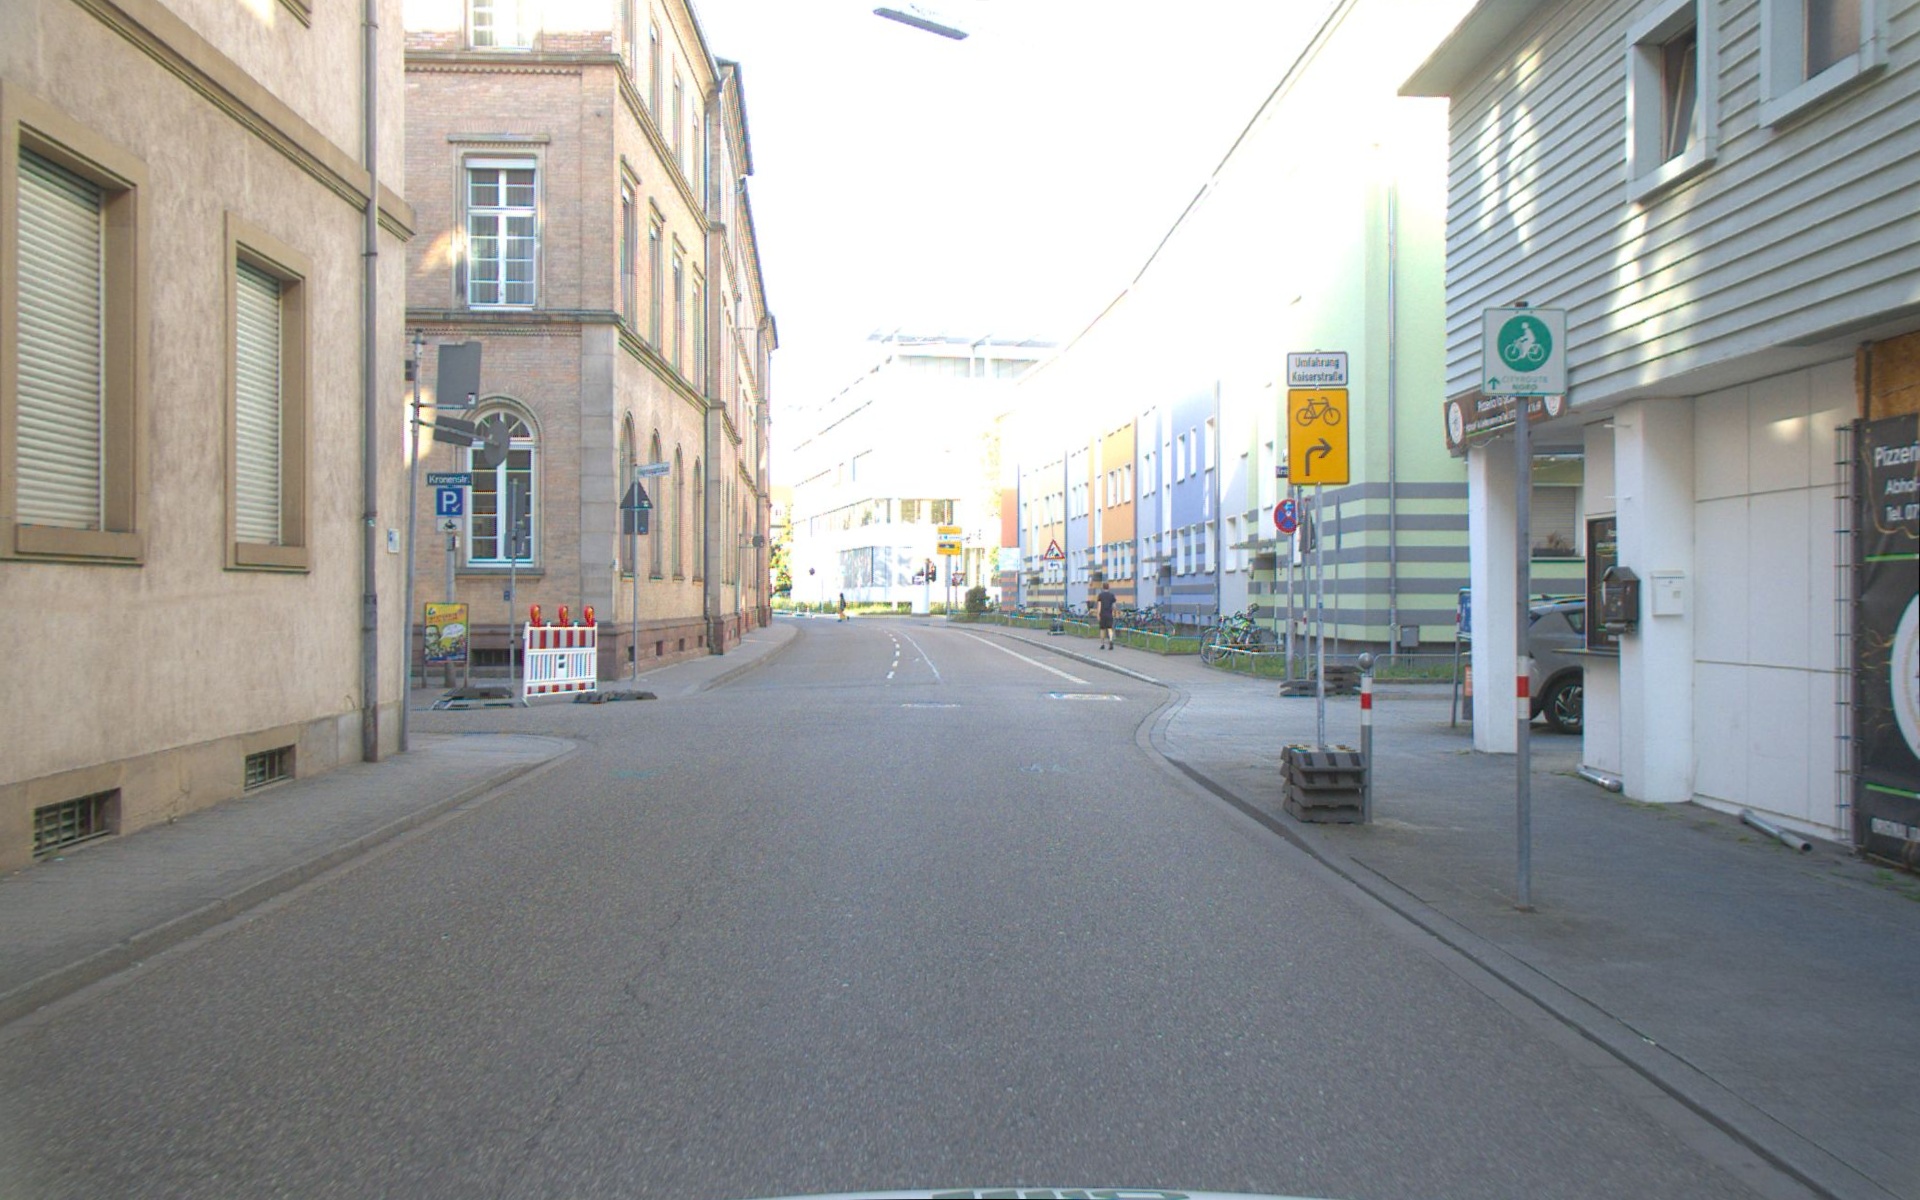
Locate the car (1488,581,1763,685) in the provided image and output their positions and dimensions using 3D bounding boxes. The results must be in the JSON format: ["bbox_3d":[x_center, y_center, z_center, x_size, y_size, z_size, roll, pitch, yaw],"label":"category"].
[{"bbox_3d":[10.002,0.481,25.025,3.473,1.508,1.708,0,0,-2],"label":"car"}]

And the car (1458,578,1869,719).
[{"bbox_3d":[8.082,0.530,19.248,3.997,1.508,1.864,-1,0,-3],"label":"car"}]

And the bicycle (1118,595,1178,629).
[{"bbox_3d":[5.639,0.349,49.676,1.713,0.963,0.551,-1,0,-3],"label":"bicycle"}]

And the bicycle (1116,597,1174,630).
[{"bbox_3d":[5.663,0.407,50.684,1.713,0.963,0.325,-1,0,-3],"label":"bicycle"}]

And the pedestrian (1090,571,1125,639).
[{"bbox_3d":[3.960,0.127,44.435,0.683,1.790,1.188,-3,0,-3],"label":"pedestrian"}]

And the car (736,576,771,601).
[{"bbox_3d":[-18.336,-1.007,146.763,2.384,2.149,5.210,2,0,-15],"label":"car"}]

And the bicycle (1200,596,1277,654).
[{"bbox_3d":[6.126,0.535,36.397,1.612,1.161,0.282,-4,1,-12],"label":"bicycle"}]

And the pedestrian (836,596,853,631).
[{"bbox_3d":[-6.811,0.816,97.421,0.879,2.049,0.751,-1,0,-11],"label":"pedestrian"}]

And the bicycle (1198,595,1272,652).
[{"bbox_3d":[6.099,0.518,36.673,1.574,1.161,0.237,-4,1,-12],"label":"bicycle"}]

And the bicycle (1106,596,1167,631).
[{"bbox_3d":[5.216,0.396,48.880,1.713,0.963,0.551,-1,0,-3],"label":"bicycle"}]

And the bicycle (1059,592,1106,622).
[{"bbox_3d":[4.837,0.278,65.536,1.775,1.157,0.551,-1,0,-5],"label":"bicycle"}]

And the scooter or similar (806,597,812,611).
[{"bbox_3d":[-11.767,0.331,128.963,0.319,1.078,1.138,0,0,-15],"label":"scooter or similar"}]

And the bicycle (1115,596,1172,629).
[{"bbox_3d":[5.672,0.384,51.151,1.713,0.963,0.335,-1,0,-3],"label":"bicycle"}]

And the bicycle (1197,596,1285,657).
[{"bbox_3d":[5.935,0.560,34.976,1.714,1.161,0.551,-4,1,-3],"label":"bicycle"}]

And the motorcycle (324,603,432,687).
[{"bbox_3d":[-8.792,0.647,24.930,0.655,1.193,2.164,-2,1,-45],"label":"motorcycle"}]

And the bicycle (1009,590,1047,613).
[{"bbox_3d":[3.269,0.066,79.709,1.721,1.021,0.612,-2,0,-8],"label":"bicycle"}]
